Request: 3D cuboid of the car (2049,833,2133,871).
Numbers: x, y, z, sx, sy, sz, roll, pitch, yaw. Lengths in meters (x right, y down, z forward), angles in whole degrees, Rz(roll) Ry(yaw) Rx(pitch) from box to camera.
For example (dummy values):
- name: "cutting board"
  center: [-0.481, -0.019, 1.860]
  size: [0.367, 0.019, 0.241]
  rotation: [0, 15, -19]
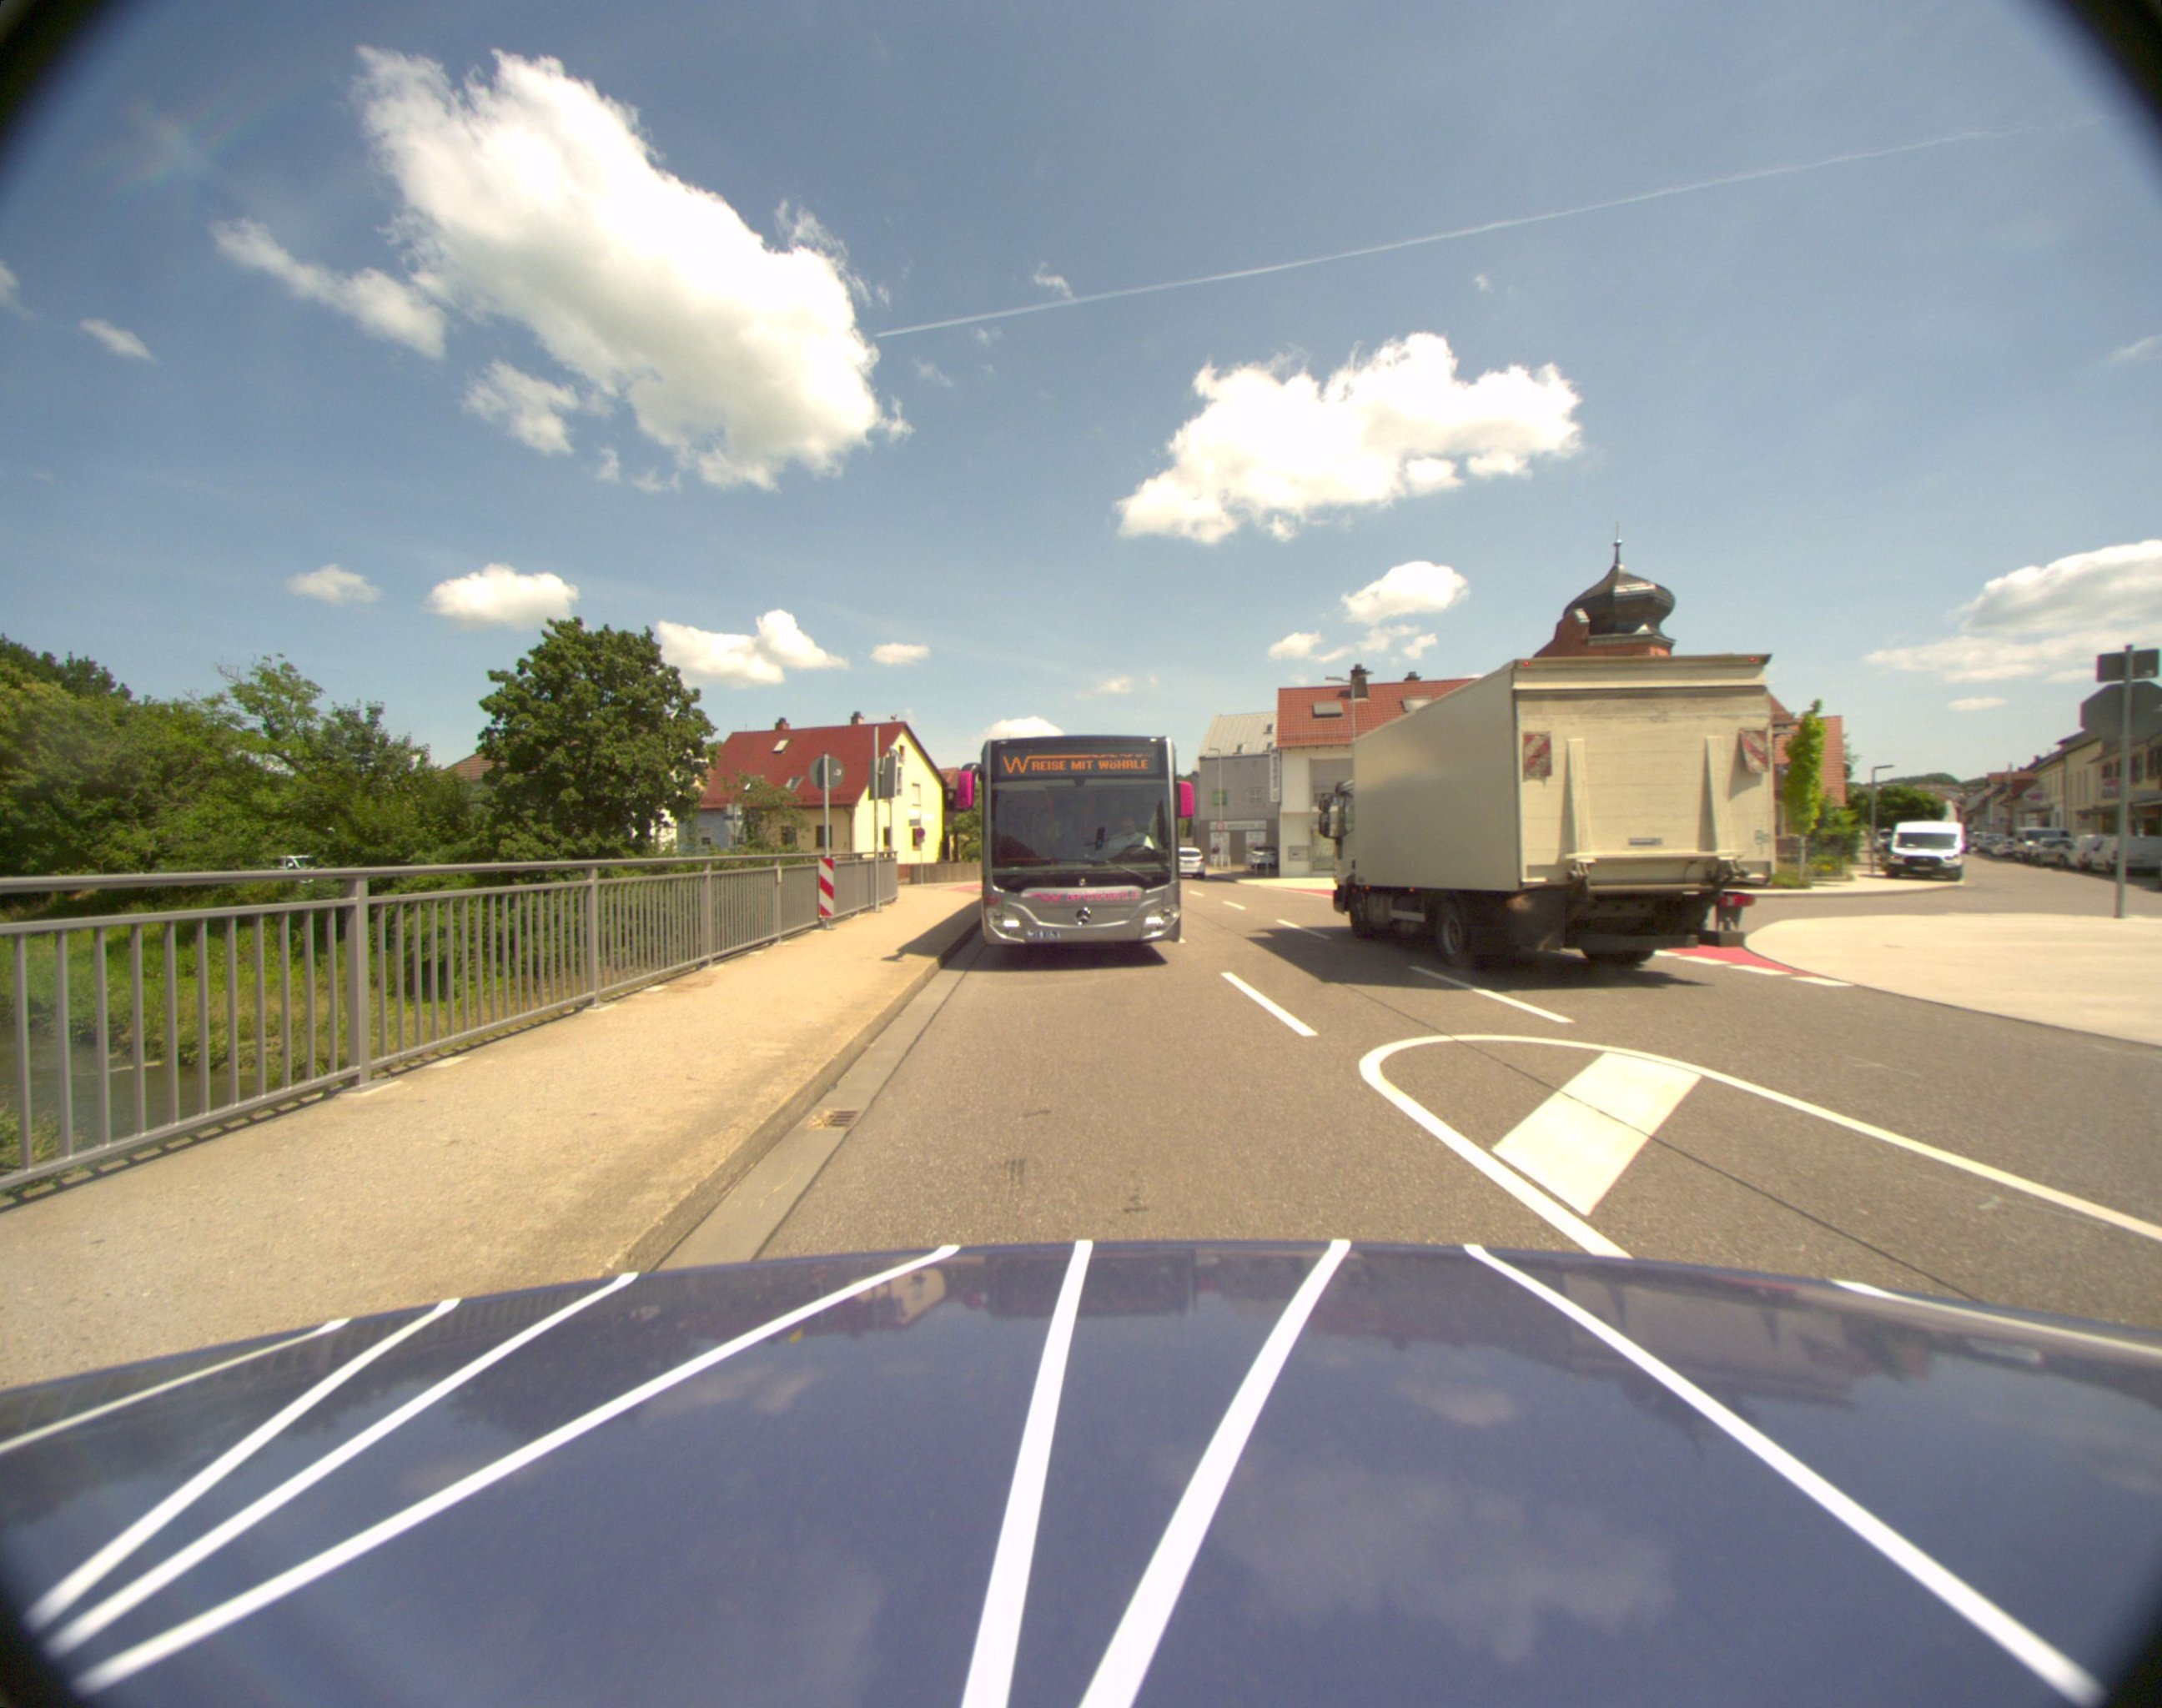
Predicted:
- name: "car"
  center: [51.269, -0.139, 38.659]
  size: [1.918, 1.867, 4.008]
  rotation: [2, 2, 44]

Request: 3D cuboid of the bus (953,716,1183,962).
- name: "bus"
  center: [-0.026, -0.106, 13.827]
  size: [2.755, 2.949, 9.283]
  rotation: [1, -1, 2]

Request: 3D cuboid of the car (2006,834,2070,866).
- name: "car"
  center: [58.188, -0.263, 46.268]
  size: [1.862, 1.839, 4.008]
  rotation: [2, 2, 44]

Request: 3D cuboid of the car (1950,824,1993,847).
- name: "car"
  center: [80.559, -1.672, 68.782]
  size: [1.994, 2.002, 4.008]
  rotation: [2, 2, 42]

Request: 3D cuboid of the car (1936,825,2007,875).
- name: "car"
  center: [44.728, -0.246, 38.131]
  size: [5.122, 2.332, 2.167]
  rotation: [-1, 2, -39]

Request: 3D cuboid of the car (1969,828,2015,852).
- name: "car"
  center: [71.073, -1.099, 59.326]
  size: [1.862, 1.839, 4.008]
  rotation: [2, 2, 44]

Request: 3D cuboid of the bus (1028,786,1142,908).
- name: "bus"
  center: [0.187, -0.081, 23.184]
  size: [2.755, 2.949, 9.283]
  rotation: [1, -1, 1]

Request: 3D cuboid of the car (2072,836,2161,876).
- name: "car"
  center: [47.847, 0.064, 34.859]
  size: [2.063, 1.718, 4.008]
  rotation: [2, 2, 41]

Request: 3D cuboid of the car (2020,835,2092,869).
- name: "car"
  center: [54.852, -0.150, 42.824]
  size: [1.862, 1.839, 4.008]
  rotation: [2, 2, 44]

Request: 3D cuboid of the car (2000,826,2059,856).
- name: "car"
  center: [62.007, -0.857, 49.735]
  size: [1.862, 1.839, 4.008]
  rotation: [2, 2, 44]

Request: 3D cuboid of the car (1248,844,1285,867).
- name: "car"
  center: [13.260, 0.068, 54.131]
  size: [1.995, 1.565, 4.259]
  rotation: [1, 0, 21]

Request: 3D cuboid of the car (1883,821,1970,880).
- name: "car"
  center: [36.133, -0.183, 32.438]
  size: [5.122, 2.332, 2.167]
  rotation: [-1, 2, -39]

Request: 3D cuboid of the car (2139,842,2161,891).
- name: "car"
  center: [35.695, 0.414, 24.182]
  size: [4.242, 1.538, 1.782]
  rotation: [-1, 2, -43]

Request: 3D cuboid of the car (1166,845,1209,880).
- name: "car"
  center: [5.577, 0.395, 40.236]
  size: [1.819, 1.640, 4.000]
  rotation: [-2, 1, 2]

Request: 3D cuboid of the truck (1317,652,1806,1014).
- name: "truck"
  center: [5.273, -0.195, 9.864]
  size: [2.508, 3.216, 6.039]
  rotation: [-1, 0, 0]
